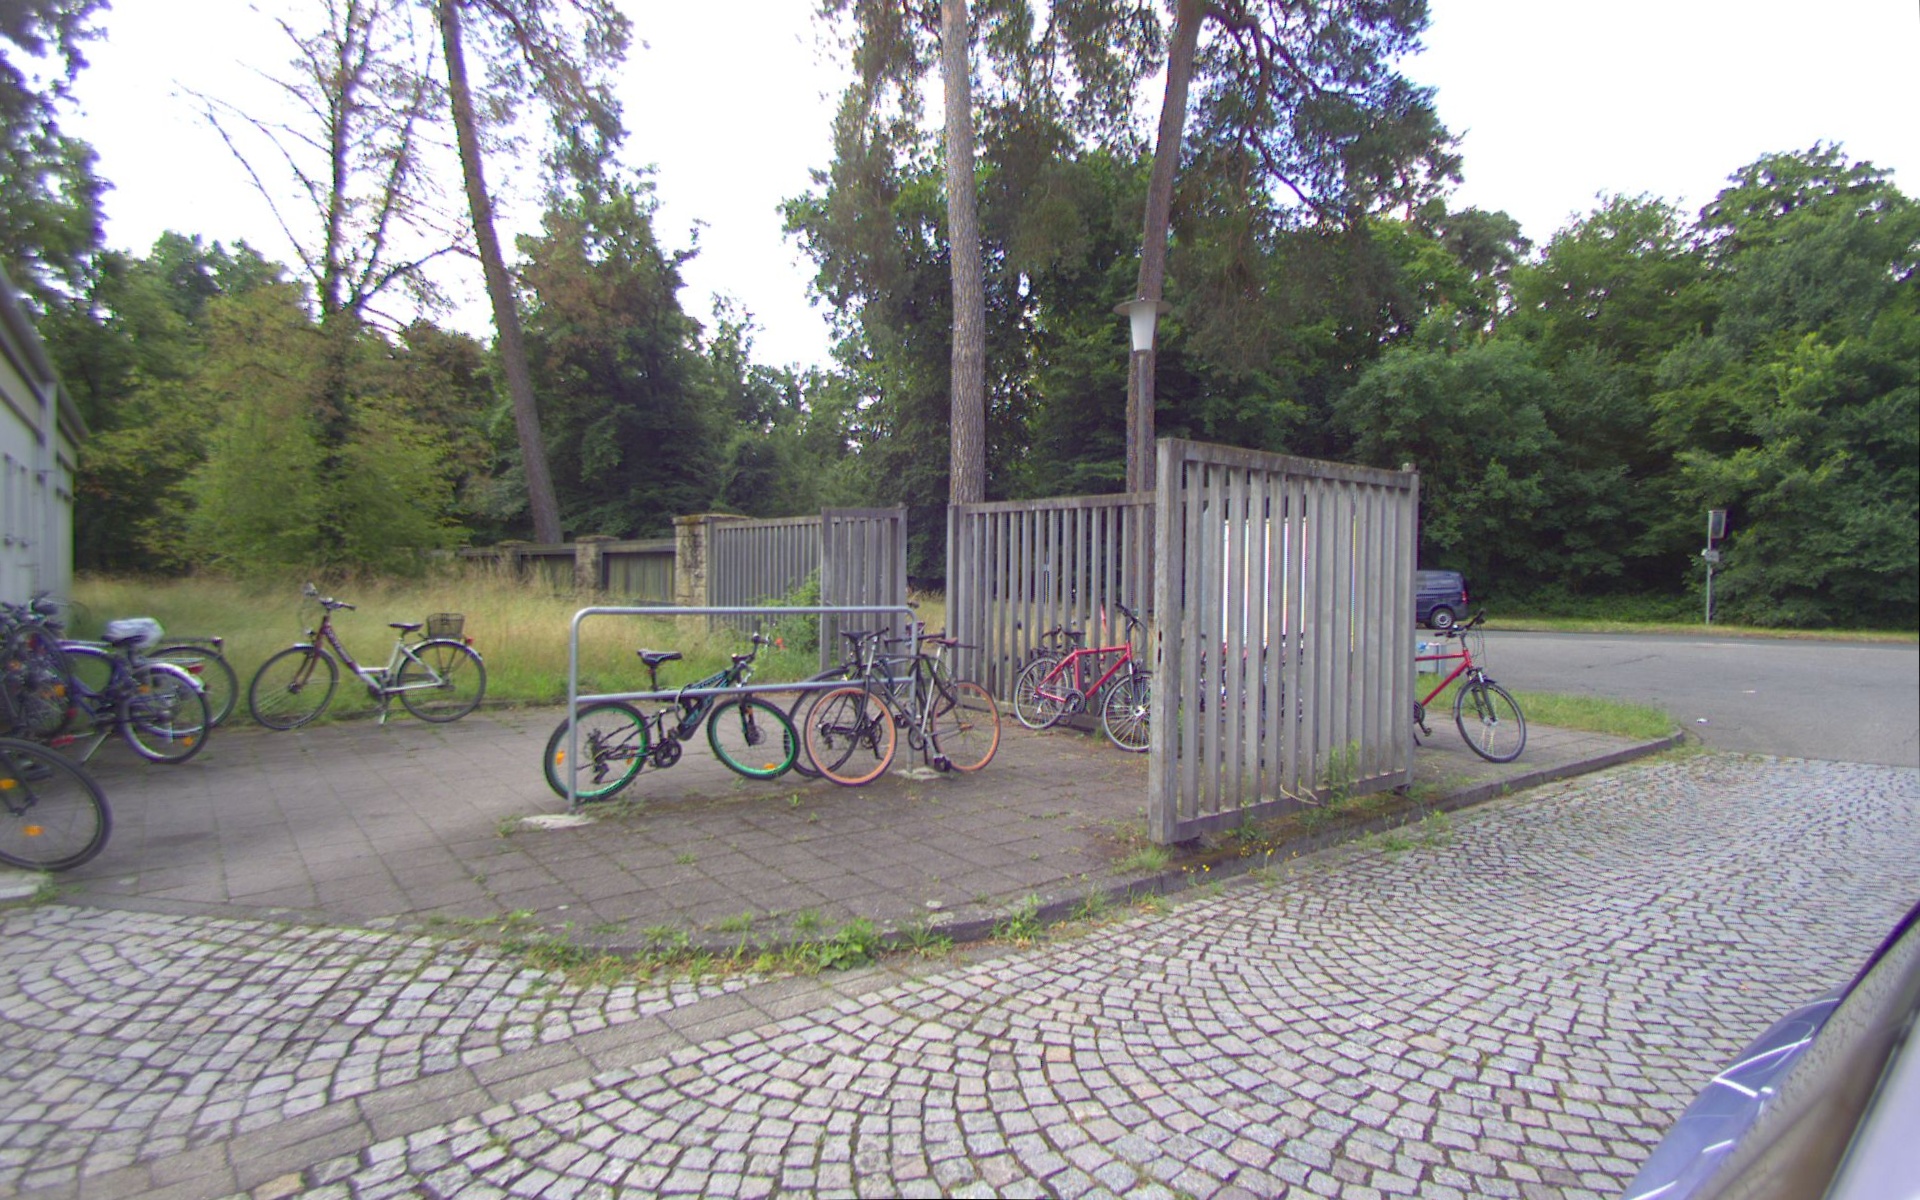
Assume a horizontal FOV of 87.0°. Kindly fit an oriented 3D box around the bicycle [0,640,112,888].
[{"bbox_3d":[-4.432,0.692,4.013,1.626,0.964,0.535,-1,2,-40],"label":"bicycle"}]

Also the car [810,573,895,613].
[{"bbox_3d":[-4.110,-0.293,38.793,2.848,1.464,1.645,1,1,20],"label":"car"}]

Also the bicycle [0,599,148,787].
[{"bbox_3d":[-5.926,0.534,6.237,1.723,1.059,0.453,1,1,12],"label":"bicycle"}]

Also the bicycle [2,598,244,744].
[{"bbox_3d":[-6.177,0.506,7.522,1.328,1.023,0.406,1,1,-17],"label":"bicycle"}]

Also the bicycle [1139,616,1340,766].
[{"bbox_3d":[2.315,0.716,8.591,0.380,1.046,1.731,0,2,-38],"label":"bicycle"}]

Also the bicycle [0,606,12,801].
[{"bbox_3d":[-5.887,0.553,5.671,1.390,1.059,0.336,1,1,24],"label":"bicycle"}]

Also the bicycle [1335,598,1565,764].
[{"bbox_3d":[4.279,0.647,8.913,1.650,1.245,0.738,4,3,43],"label":"bicycle"}]

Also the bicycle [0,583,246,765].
[{"bbox_3d":[-5.773,0.469,6.808,1.710,1.146,0.473,1,1,7],"label":"bicycle"}]

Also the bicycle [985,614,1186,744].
[{"bbox_3d":[1.079,0.657,9.088,0.495,0.951,1.864,0,3,-45],"label":"bicycle"}]

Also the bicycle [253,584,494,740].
[{"bbox_3d":[-4.767,0.459,8.287,1.648,1.153,0.649,0,1,-34],"label":"bicycle"}]

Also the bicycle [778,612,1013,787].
[{"bbox_3d":[-0.417,0.640,7.150,1.702,1.070,0.474,0,2,-40],"label":"bicycle"}]

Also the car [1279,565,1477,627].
[{"bbox_3d":[13.674,-0.181,33.552,5.869,1.859,1.988,2,1,19],"label":"car"}]

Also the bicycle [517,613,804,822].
[{"bbox_3d":[-1.800,0.642,6.190,1.537,1.075,0.691,0,2,-40],"label":"bicycle"}]
